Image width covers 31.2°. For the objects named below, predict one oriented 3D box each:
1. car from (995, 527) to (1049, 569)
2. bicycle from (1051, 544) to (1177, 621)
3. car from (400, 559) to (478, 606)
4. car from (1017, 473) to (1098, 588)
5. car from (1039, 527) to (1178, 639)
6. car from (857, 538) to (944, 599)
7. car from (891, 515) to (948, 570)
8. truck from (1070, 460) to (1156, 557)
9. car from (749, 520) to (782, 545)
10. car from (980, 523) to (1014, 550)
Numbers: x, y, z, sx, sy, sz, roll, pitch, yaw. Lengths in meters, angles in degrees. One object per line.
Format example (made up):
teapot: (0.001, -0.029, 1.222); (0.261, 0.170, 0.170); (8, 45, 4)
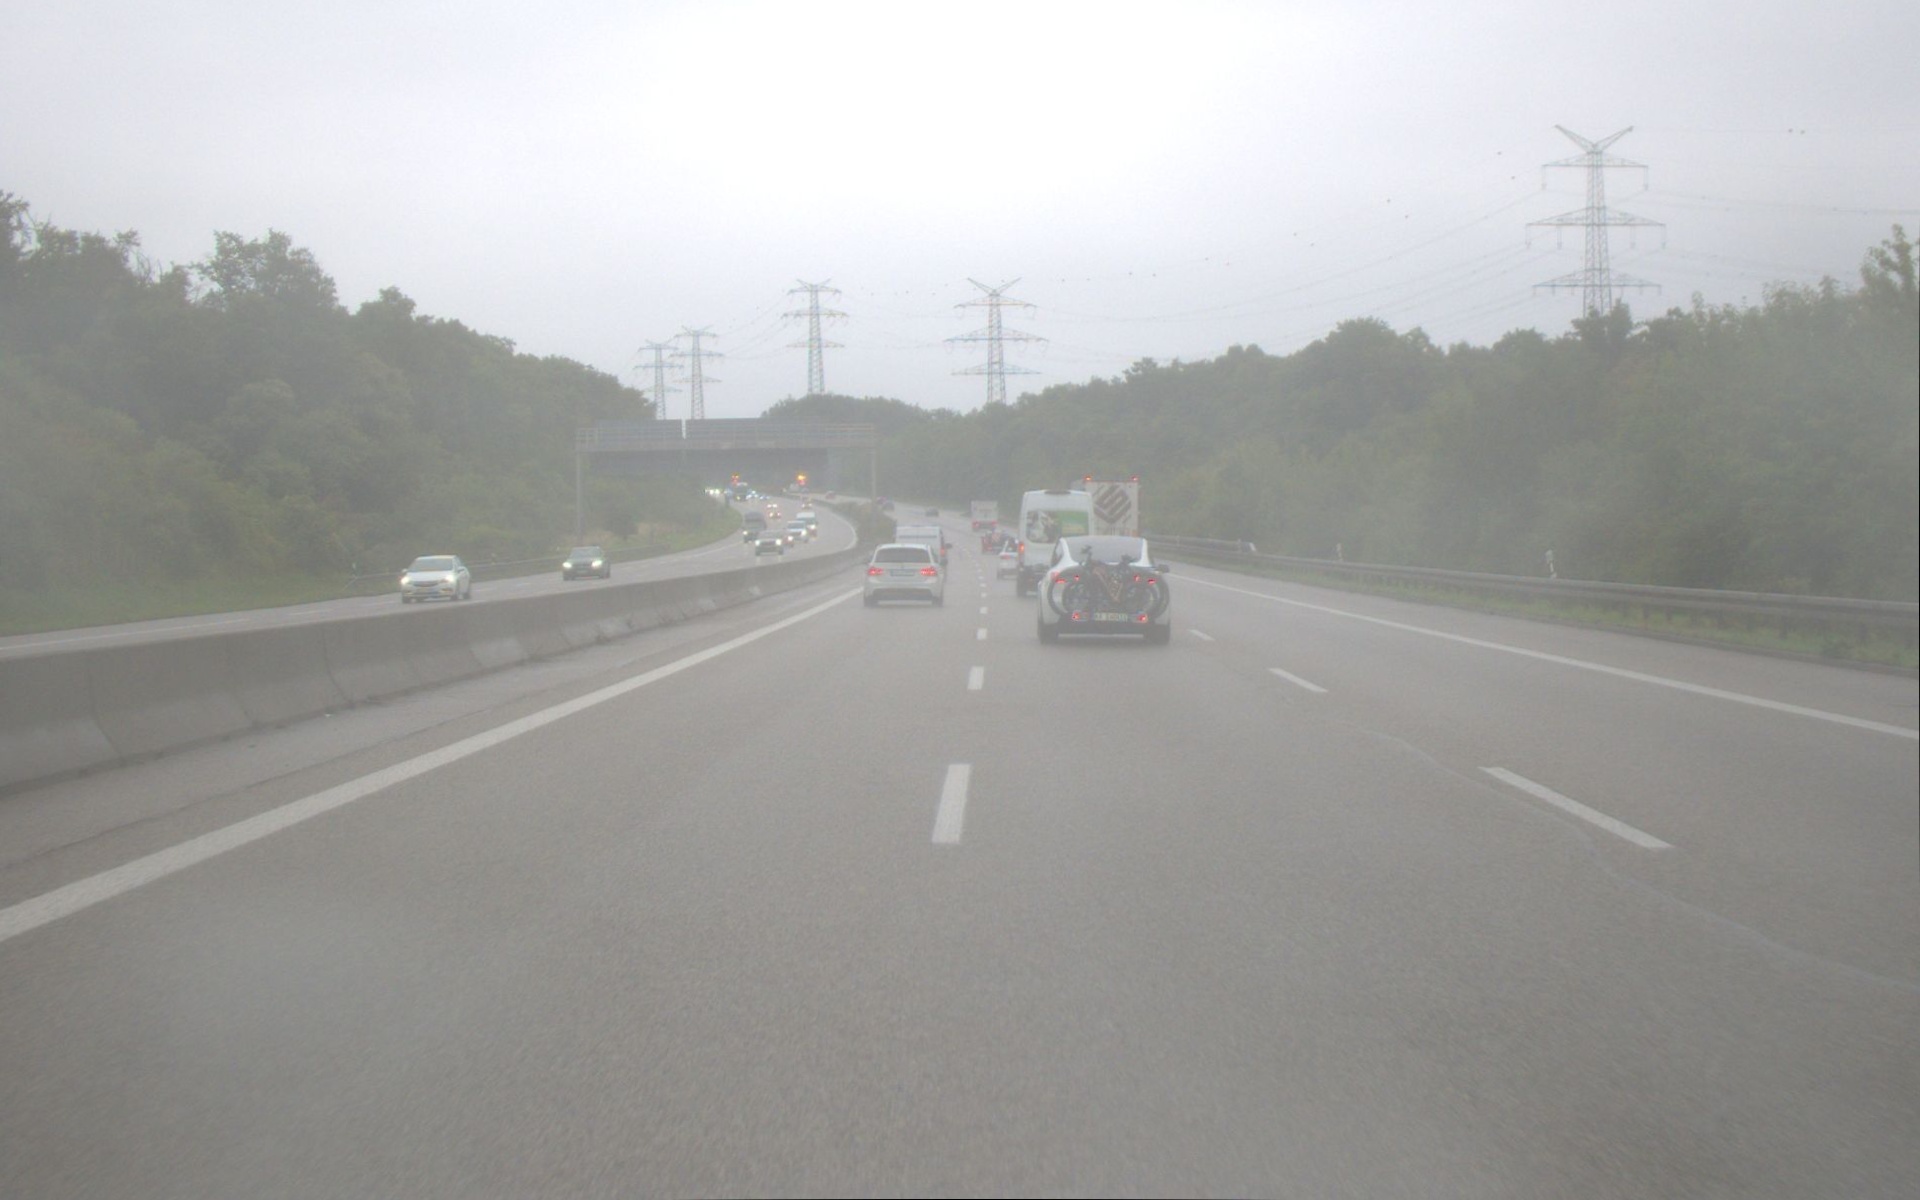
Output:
car: (2.173, -1.874, 122.142); (1.857, 1.417, 4.000); (0, 2, 0)
bicycle: (2.185, -0.248, 48.972); (1.753, 1.087, 0.914); (0, 0, -1)
car: (-16.740, -0.589, 110.620); (1.797, 1.445, 4.629); (-1, 1, 0)
car: (2.500, -1.797, 89.094); (1.993, 2.854, 4.000); (-2, 1, 1)
car: (2.193, -0.297, 51.924); (1.860, 1.562, 4.964); (0, 2, 0)
car: (-1.325, -0.727, 77.440); (1.866, 1.284, 4.000); (-2, 1, -1)
car: (-1.340, -1.899, 114.405); (1.846, 1.766, 4.000); (1, 0, -1)
truck: (7.050, -4.244, 160.105); (3.603, 4.317, 13.200); (0, 1, 1)
car: (-13.359, -4.651, 236.171); (1.993, 1.682, 4.917); (-1, 1, 0)
car: (2.278, -3.926, 212.439); (1.993, 1.568, 4.000); (-2, 1, -1)
